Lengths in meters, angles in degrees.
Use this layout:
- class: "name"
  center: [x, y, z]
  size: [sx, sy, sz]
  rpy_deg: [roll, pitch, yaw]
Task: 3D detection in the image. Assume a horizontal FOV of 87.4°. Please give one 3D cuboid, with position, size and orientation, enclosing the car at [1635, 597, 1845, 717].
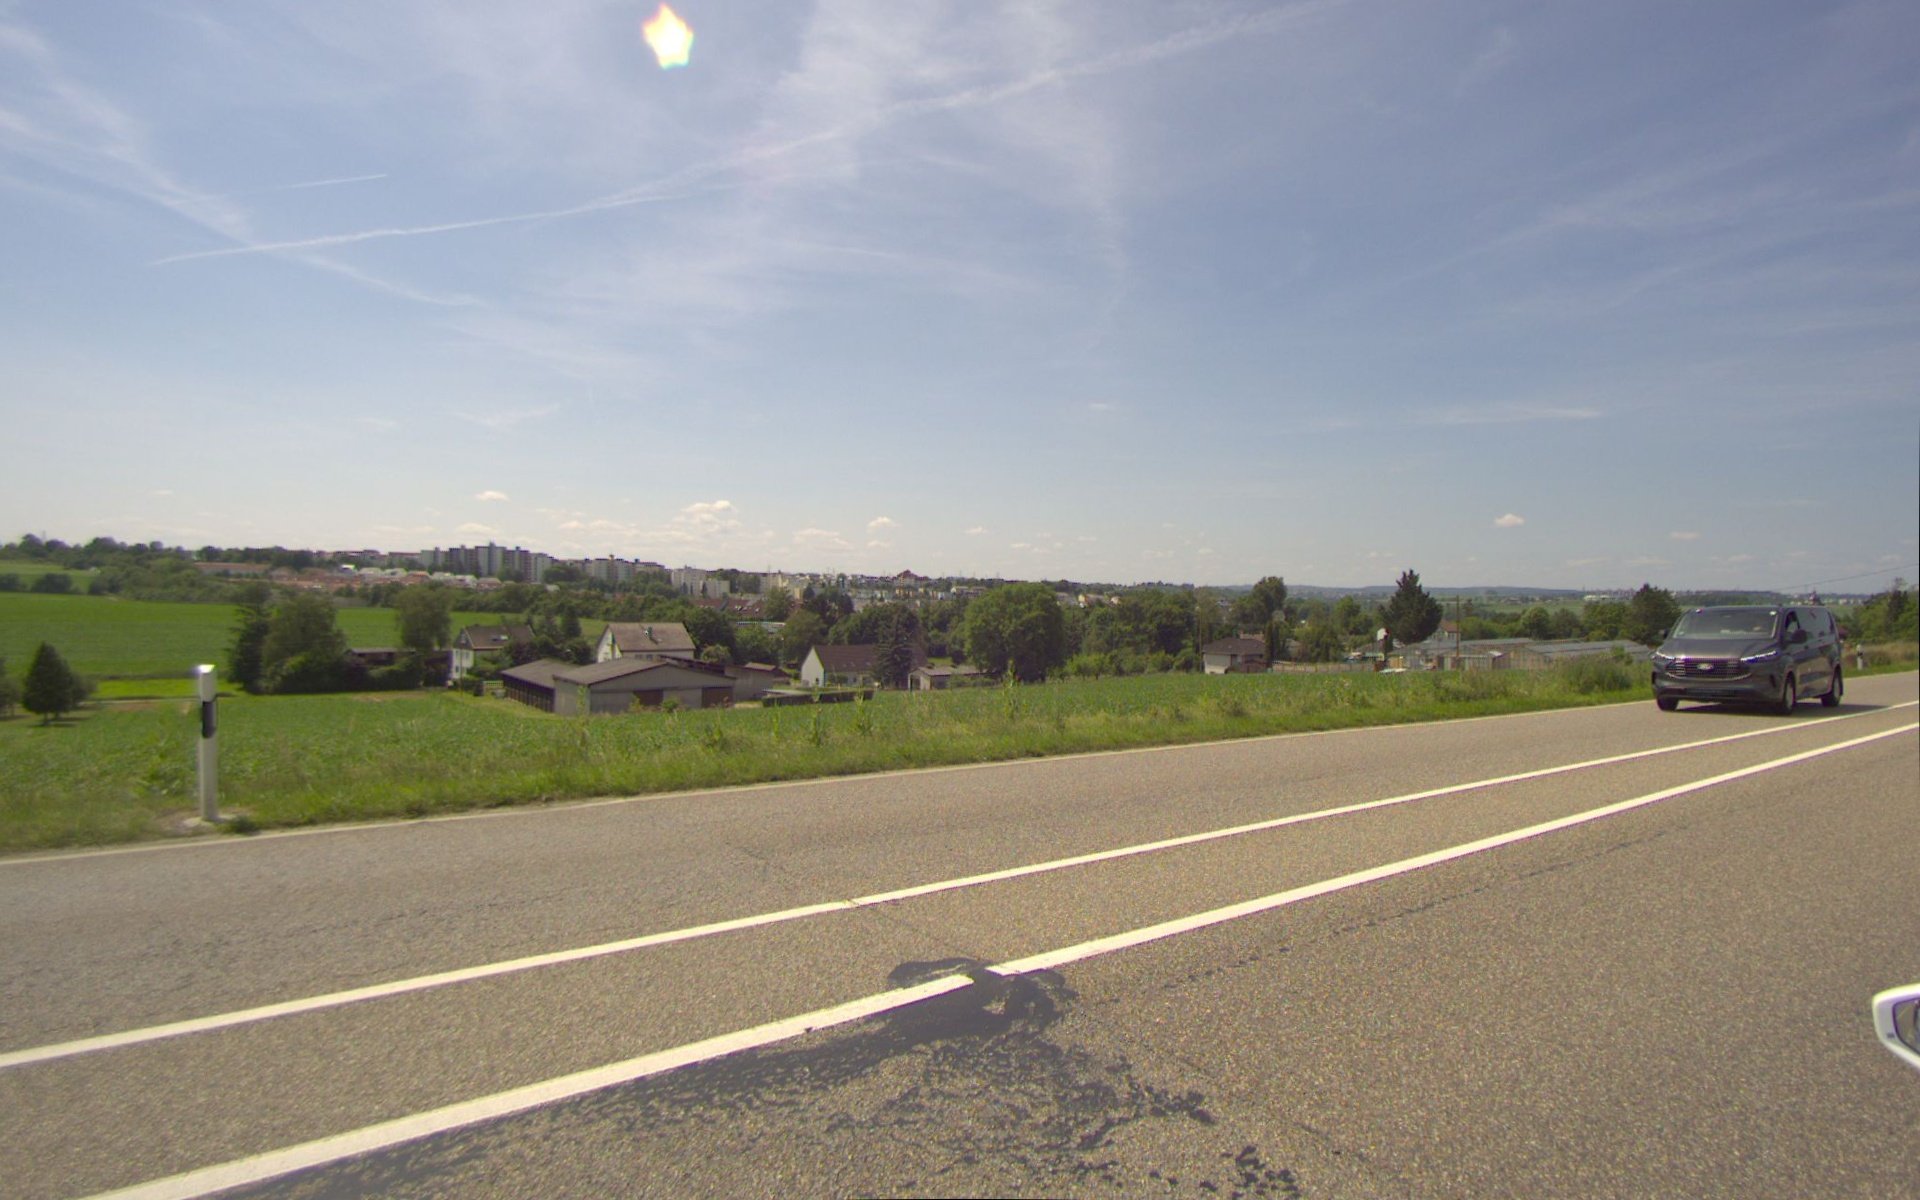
- class: "car"
  center: [15.032, 1.032, 19.237]
  size: [5.232, 2.004, 1.978]
  rpy_deg: [1, -3, -38]
